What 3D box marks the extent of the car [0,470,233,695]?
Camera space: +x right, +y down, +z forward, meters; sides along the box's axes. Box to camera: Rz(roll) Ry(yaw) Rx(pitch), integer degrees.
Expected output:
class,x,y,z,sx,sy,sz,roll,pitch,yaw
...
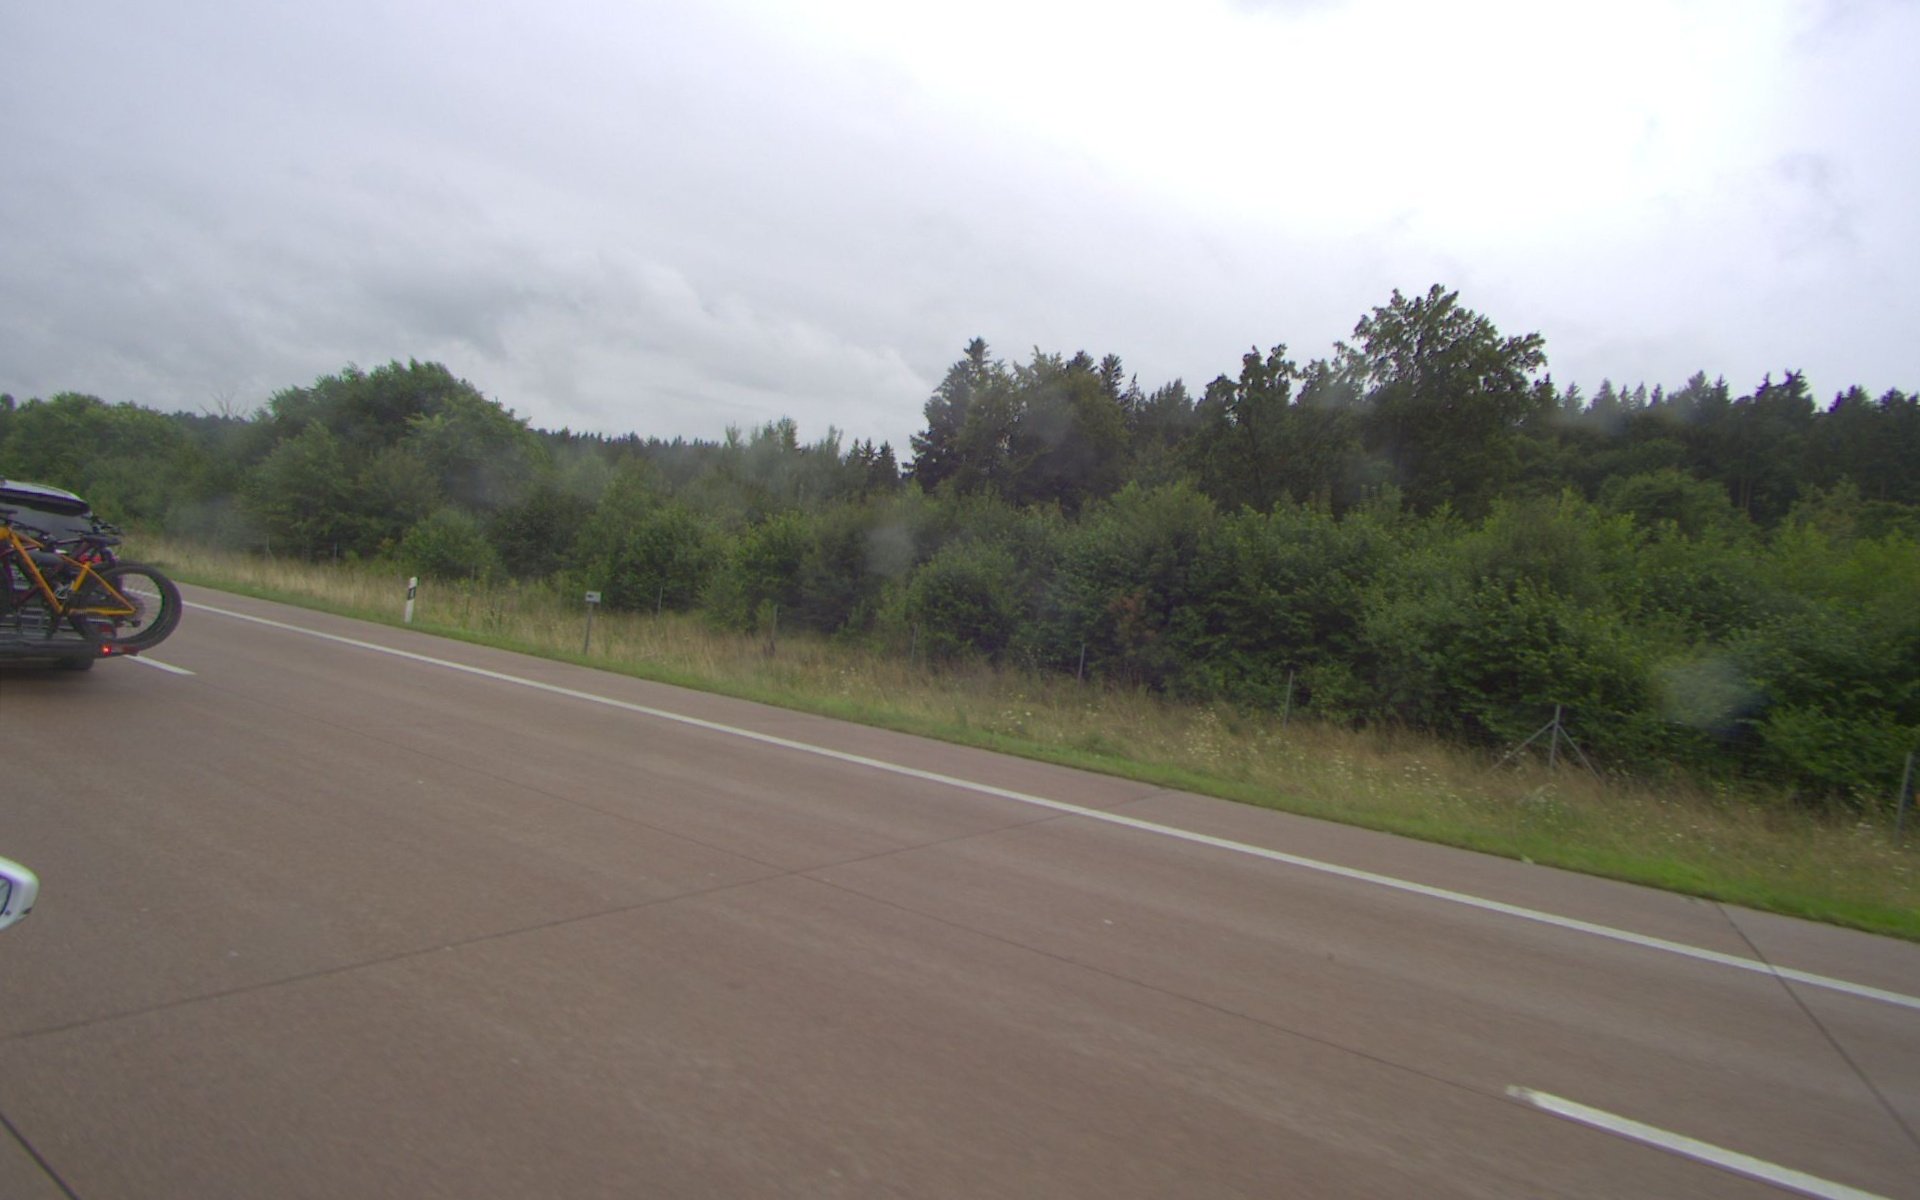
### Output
class,x,y,z,sx,sy,sz,roll,pitch,yaw
car,-9.208,-0.351,9.218,5.724,1.611,1.997,6,-2,32
